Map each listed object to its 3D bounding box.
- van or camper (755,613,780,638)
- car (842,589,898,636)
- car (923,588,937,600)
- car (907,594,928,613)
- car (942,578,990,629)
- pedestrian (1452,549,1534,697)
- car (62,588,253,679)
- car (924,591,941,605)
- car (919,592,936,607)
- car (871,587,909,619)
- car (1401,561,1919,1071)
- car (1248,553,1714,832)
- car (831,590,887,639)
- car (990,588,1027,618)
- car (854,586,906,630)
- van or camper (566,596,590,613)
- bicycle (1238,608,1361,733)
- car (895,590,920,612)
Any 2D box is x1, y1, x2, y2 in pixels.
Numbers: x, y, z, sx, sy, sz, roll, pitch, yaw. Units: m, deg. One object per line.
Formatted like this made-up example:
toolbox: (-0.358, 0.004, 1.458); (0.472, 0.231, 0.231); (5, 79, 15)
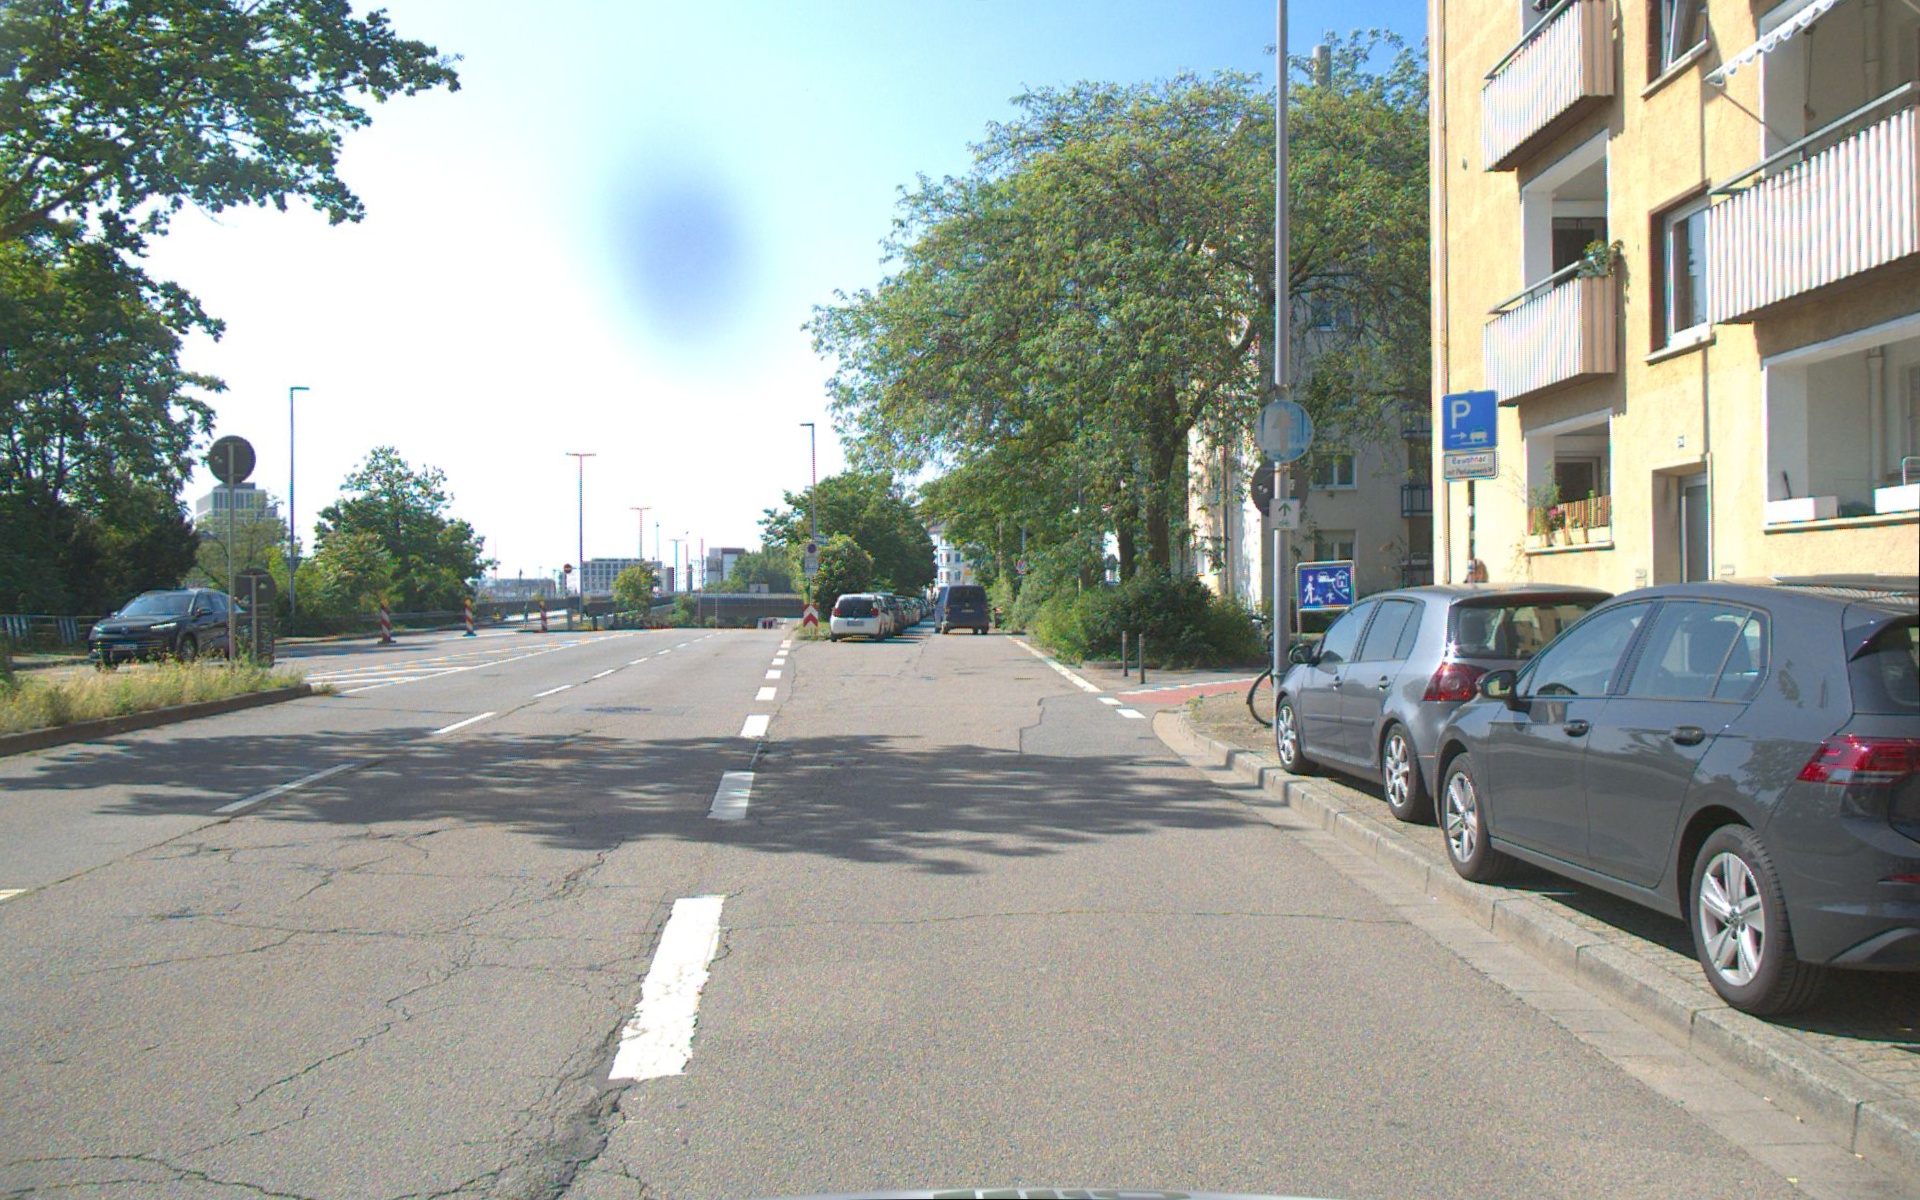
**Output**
van or camper: (-22.220, 2.927, 191.208); (2.250, 2.838, 5.570); (-1, 0, -1)
car: (-3.119, 0.398, 57.913); (1.686, 1.531, 4.132); (1, 1, 0)
car: (-4.394, -0.913, 243.937); (1.953, 1.686, 3.999); (-1, 0, -1)
car: (-3.560, 0.284, 138.088); (1.630, 1.536, 4.008); (1, 1, 0)
car: (0.245, 0.115, 67.109); (1.844, 1.955, 4.008); (1, 0, 0)
pedestrian: (6.079, 0.256, 18.888); (0.642, 1.637, 0.824); (-1, 0, 0)
car: (-16.745, 0.641, 34.806); (1.954, 1.764, 4.726); (-1, 0, -4)
car: (-3.324, -0.274, 201.093); (1.953, 1.686, 3.999); (-1, 0, -1)
car: (-3.727, -0.091, 191.288); (1.953, 1.686, 3.999); (-1, 0, -1)
car: (-3.323, 0.124, 79.089); (1.630, 1.499, 3.789); (1, 1, 0)
car: (3.399, 0.595, 7.034); (1.677, 1.487, 4.253); (-1, 1, -3)
car: (3.402, 0.502, 11.674); (1.670, 1.540, 4.088); (-3, 1, -5)
car: (-3.224, 0.439, 53.304); (1.586, 1.531, 3.461); (0, 1, 0)
car: (2.510, 0.164, 86.322); (1.691, 1.445, 4.000); (-2, 0, 0)
car: (-3.116, 0.278, 63.623); (1.738, 1.607, 4.180); (-1, 0, -6)
van or camper: (-32.596, 0.369, 141.148); (1.439, 1.373, 4.624); (-1, 0, -6)
bicycle: (3.367, 0.671, 16.570); (0.689, 1.143, 1.743); (-1, 0, -6)
car: (-3.833, 0.072, 121.415); (1.630, 1.536, 4.008); (1, 1, 0)
